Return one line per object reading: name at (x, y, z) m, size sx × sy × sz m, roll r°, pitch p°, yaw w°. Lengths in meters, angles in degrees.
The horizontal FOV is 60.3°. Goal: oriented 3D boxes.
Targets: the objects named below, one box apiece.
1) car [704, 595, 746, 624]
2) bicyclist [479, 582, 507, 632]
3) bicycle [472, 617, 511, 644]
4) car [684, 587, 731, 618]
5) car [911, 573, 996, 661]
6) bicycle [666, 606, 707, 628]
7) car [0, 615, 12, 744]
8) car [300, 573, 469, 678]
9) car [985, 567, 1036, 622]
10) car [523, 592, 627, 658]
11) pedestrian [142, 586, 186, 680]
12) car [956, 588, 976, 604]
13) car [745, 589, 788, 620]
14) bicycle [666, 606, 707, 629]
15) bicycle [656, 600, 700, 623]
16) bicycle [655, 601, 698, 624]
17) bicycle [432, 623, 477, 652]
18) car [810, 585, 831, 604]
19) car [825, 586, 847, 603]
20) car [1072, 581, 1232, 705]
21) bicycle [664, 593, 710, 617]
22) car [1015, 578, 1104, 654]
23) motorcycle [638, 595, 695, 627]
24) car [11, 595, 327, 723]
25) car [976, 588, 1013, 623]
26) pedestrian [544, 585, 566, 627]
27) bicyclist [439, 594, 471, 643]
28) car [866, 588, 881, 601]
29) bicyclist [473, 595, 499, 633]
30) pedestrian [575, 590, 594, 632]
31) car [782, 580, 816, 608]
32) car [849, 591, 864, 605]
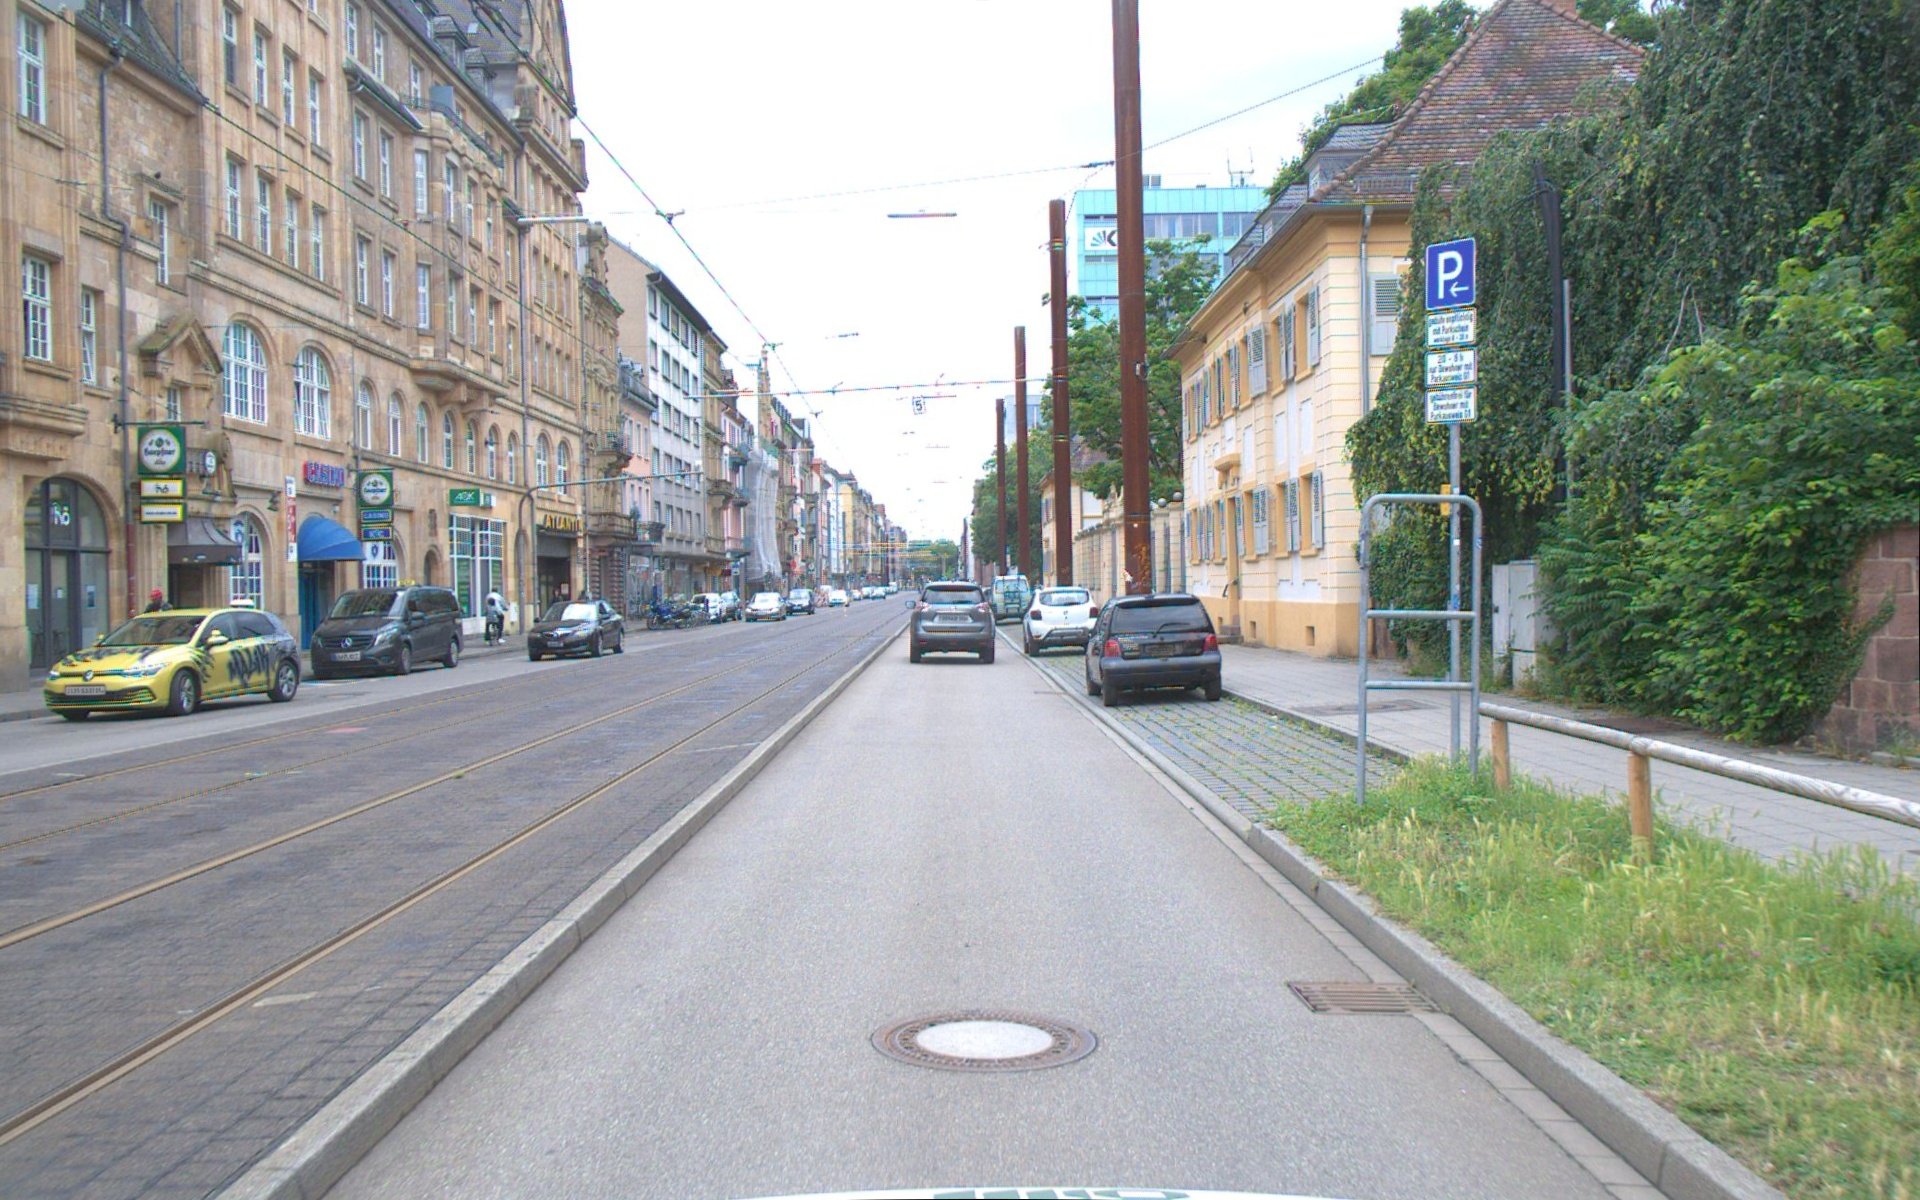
car at (-12.890, 0.504, 90.911) m, size 1.740 × 1.531 × 4.401 m, roll -1°, pitch 0°, yaw -1°
bicyclist at (-14.537, 0.206, 51.504) m, size 0.598 × 1.513 × 0.972 m, roll -1°, pitch 0°, yaw -1°
bicycle at (-14.507, 0.941, 51.257) m, size 0.570 × 0.758 × 2.250 m, roll -1°, pitch 1°, yaw -1°
car at (-12.865, 0.119, 84.575) m, size 1.740 × 1.531 × 4.401 m, roll -1°, pitch 0°, yaw -1°
car at (-0.157, 0.334, 35.824) m, size 1.714 × 1.786 × 3.923 m, roll 1°, pitch 0°, yaw -1°
bicycle at (-13.135, 0.821, 79.535) m, size 1.929 × 1.018 × 0.462 m, roll -1°, pitch 0°, yaw -9°
car at (-11.549, 0.912, 16.232) m, size 1.886 × 1.404 × 4.259 m, roll -1°, pitch 0°, yaw 2°
car at (-12.428, 0.503, 36.104) m, size 1.861 × 2.011 × 5.096 m, roll -4°, pitch 0°, yaw -1°
car at (2.132, -0.256, 71.028) m, size 1.814 × 2.151 × 4.983 m, roll -4°, pitch 0°, yaw -1°
car at (-9.684, 0.586, 41.905) m, size 1.791 × 1.458 × 4.663 m, roll -4°, pitch 0°, yaw -5°
pedestrian at (-15.182, 0.613, 31.553) m, size 0.485 × 1.758 × 0.765 m, roll -1°, pitch 0°, yaw -4°
car at (0.577, -0.355, 152.636) m, size 1.740 × 1.445 × 4.134 m, roll -1°, pitch 0°, yaw -1°
car at (-10.005, 0.211, 85.826) m, size 1.723 × 1.474 × 4.614 m, roll -1°, pitch 0°, yaw 0°
bicycle at (-13.054, 0.824, 78.972) m, size 1.929 × 1.018 × 0.462 m, roll -1°, pitch 0°, yaw -9°
bicycle at (-12.883, 0.526, 75.616) m, size 1.929 × 1.018 × 0.462 m, roll -1°, pitch 0°, yaw -9°
bicycle at (-12.853, 0.562, 74.911) m, size 1.885 × 1.018 × 0.462 m, roll -1°, pitch 0°, yaw -9°
bicycle at (-14.131, 1.038, 46.269) m, size 0.570 × 0.758 × 2.250 m, roll -1°, pitch 0°, yaw -1°
car at (-13.497, -0.518, 160.102) m, size 1.954 × 1.736 × 3.997 m, roll -1°, pitch -1°, yaw -4°
car at (-10.938, -0.473, 146.446) m, size 1.653 × 1.445 × 4.134 m, roll -1°, pitch 0°, yaw -1°
car at (2.563, 0.529, 22.883) m, size 1.604 × 1.458 × 3.930 m, roll -4°, pitch 0°, yaw -1°
bicycle at (-13.367, 0.243, 80.923) m, size 2.189 × 1.146 × 0.503 m, roll -1°, pitch 0°, yaw -9°
car at (2.310, 0.351, 39.272) m, size 1.720 × 1.601 × 3.930 m, roll -4°, pitch 0°, yaw -1°
motorcycle at (-12.932, 0.491, 72.802) m, size 2.319 × 1.325 × 0.872 m, roll -2°, pitch 0°, yaw -37°
car at (-11.172, 0.763, 23.770) m, size 1.858 × 1.537 × 4.432 m, roll -3°, pitch 1°, yaw 9°
car at (1.761, 0.252, 85.378) m, size 1.714 × 1.623 × 3.923 m, roll -4°, pitch 0°, yaw -1°
pedestrian at (-16.136, 0.240, 65.882) m, size 0.671 × 1.641 × 0.742 m, roll -1°, pitch 0°, yaw -1°
bicyclist at (-14.144, 0.509, 46.344) m, size 0.598 × 1.347 × 0.972 m, roll -1°, pitch 0°, yaw -1°
car at (-11.687, -0.764, 224.384) m, size 1.954 × 1.663 × 3.997 m, roll -1°, pitch -1°, yaw -4°
bicyclist at (-14.513, 0.420, 50.685) m, size 0.598 × 1.137 × 0.659 m, roll -1°, pitch 0°, yaw -1°
pedestrian at (-14.721, 0.444, 64.859) m, size 0.556 × 1.626 × 0.718 m, roll -1°, pitch 0°, yaw -1°
car at (-10.114, -0.393, 104.085) m, size 1.723 × 1.701 × 4.614 m, roll -1°, pitch 0°, yaw 0°
car at (-13.713, -0.266, 218.301) m, size 1.954 × 1.663 × 3.997 m, roll -1°, pitch -1°, yaw -4°
